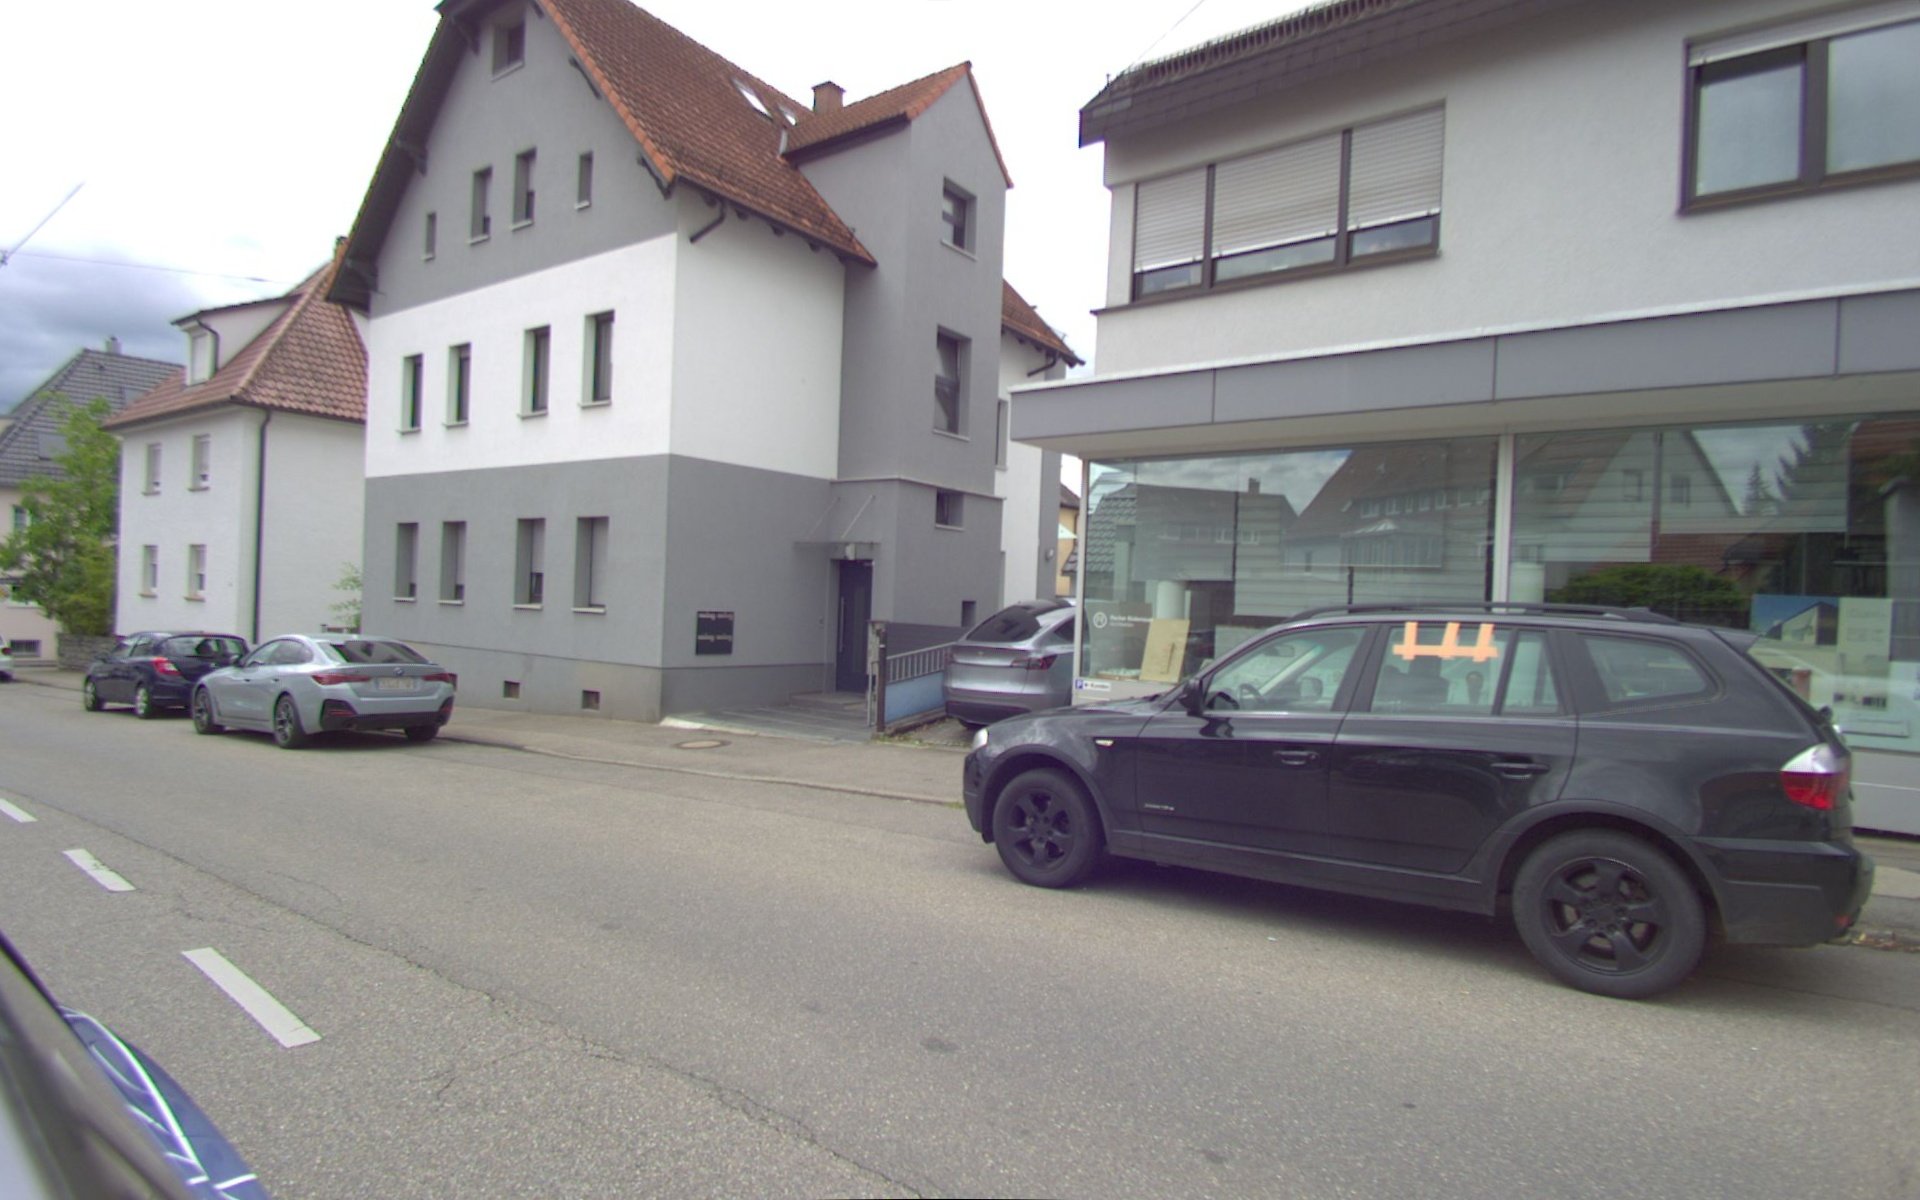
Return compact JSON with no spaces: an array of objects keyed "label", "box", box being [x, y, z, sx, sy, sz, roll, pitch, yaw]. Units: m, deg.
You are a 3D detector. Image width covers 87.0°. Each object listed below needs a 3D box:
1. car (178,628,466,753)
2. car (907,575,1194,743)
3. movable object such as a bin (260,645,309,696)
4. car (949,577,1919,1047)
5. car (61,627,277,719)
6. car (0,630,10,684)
[{"label":"car","box":[-8.881,1.151,13.966,4.459,1.456,1.821,-1,-4,36]},{"label":"car","box":[1.347,0.746,13.485,1.997,1.870,3.949,-1,-3,38]},{"label":"movable object such as a bin","box":[-14.785,1.532,22.148,0.757,1.053,0.671,-1,0,36]},{"label":"car","box":[2.243,0.825,5.568,4.400,1.645,1.820,-1,-4,37]},{"label":"car","box":[-14.124,1.248,18.025,3.989,1.456,1.822,-1,-4,34]},{"label":"car","box":[-27.557,1.518,27.637,3.804,1.458,1.634,-1,-3,36]}]
